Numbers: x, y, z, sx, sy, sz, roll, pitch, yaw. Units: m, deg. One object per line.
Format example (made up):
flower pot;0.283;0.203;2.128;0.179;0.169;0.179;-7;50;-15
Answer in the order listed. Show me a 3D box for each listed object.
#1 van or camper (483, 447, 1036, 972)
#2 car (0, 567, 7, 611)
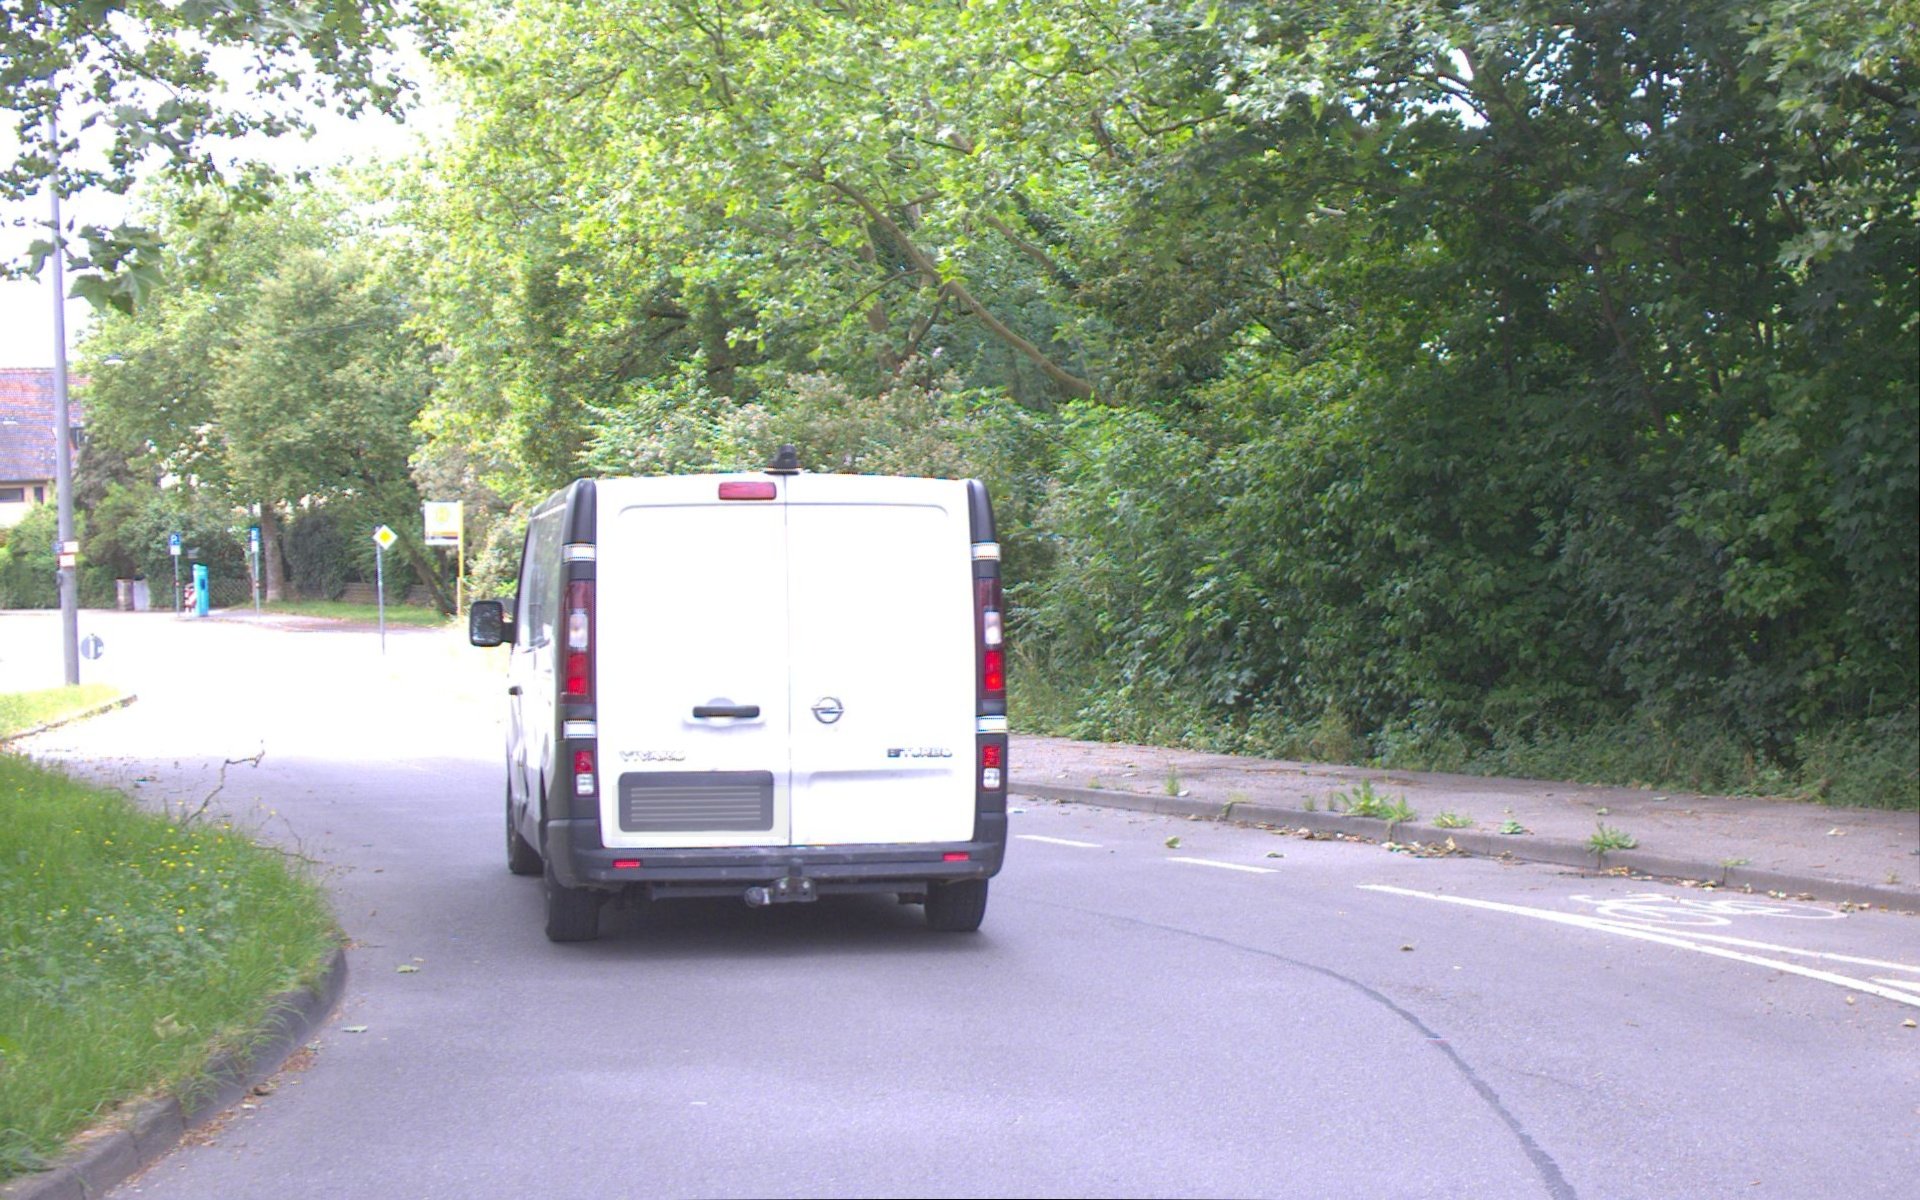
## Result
van or camper;-1.095;0.317;15.763;1.923;2.006;4.831;-1;3;-10
car;-41.413;-0.426;142.954;1.761;1.791;4.948;-3;2;-36
